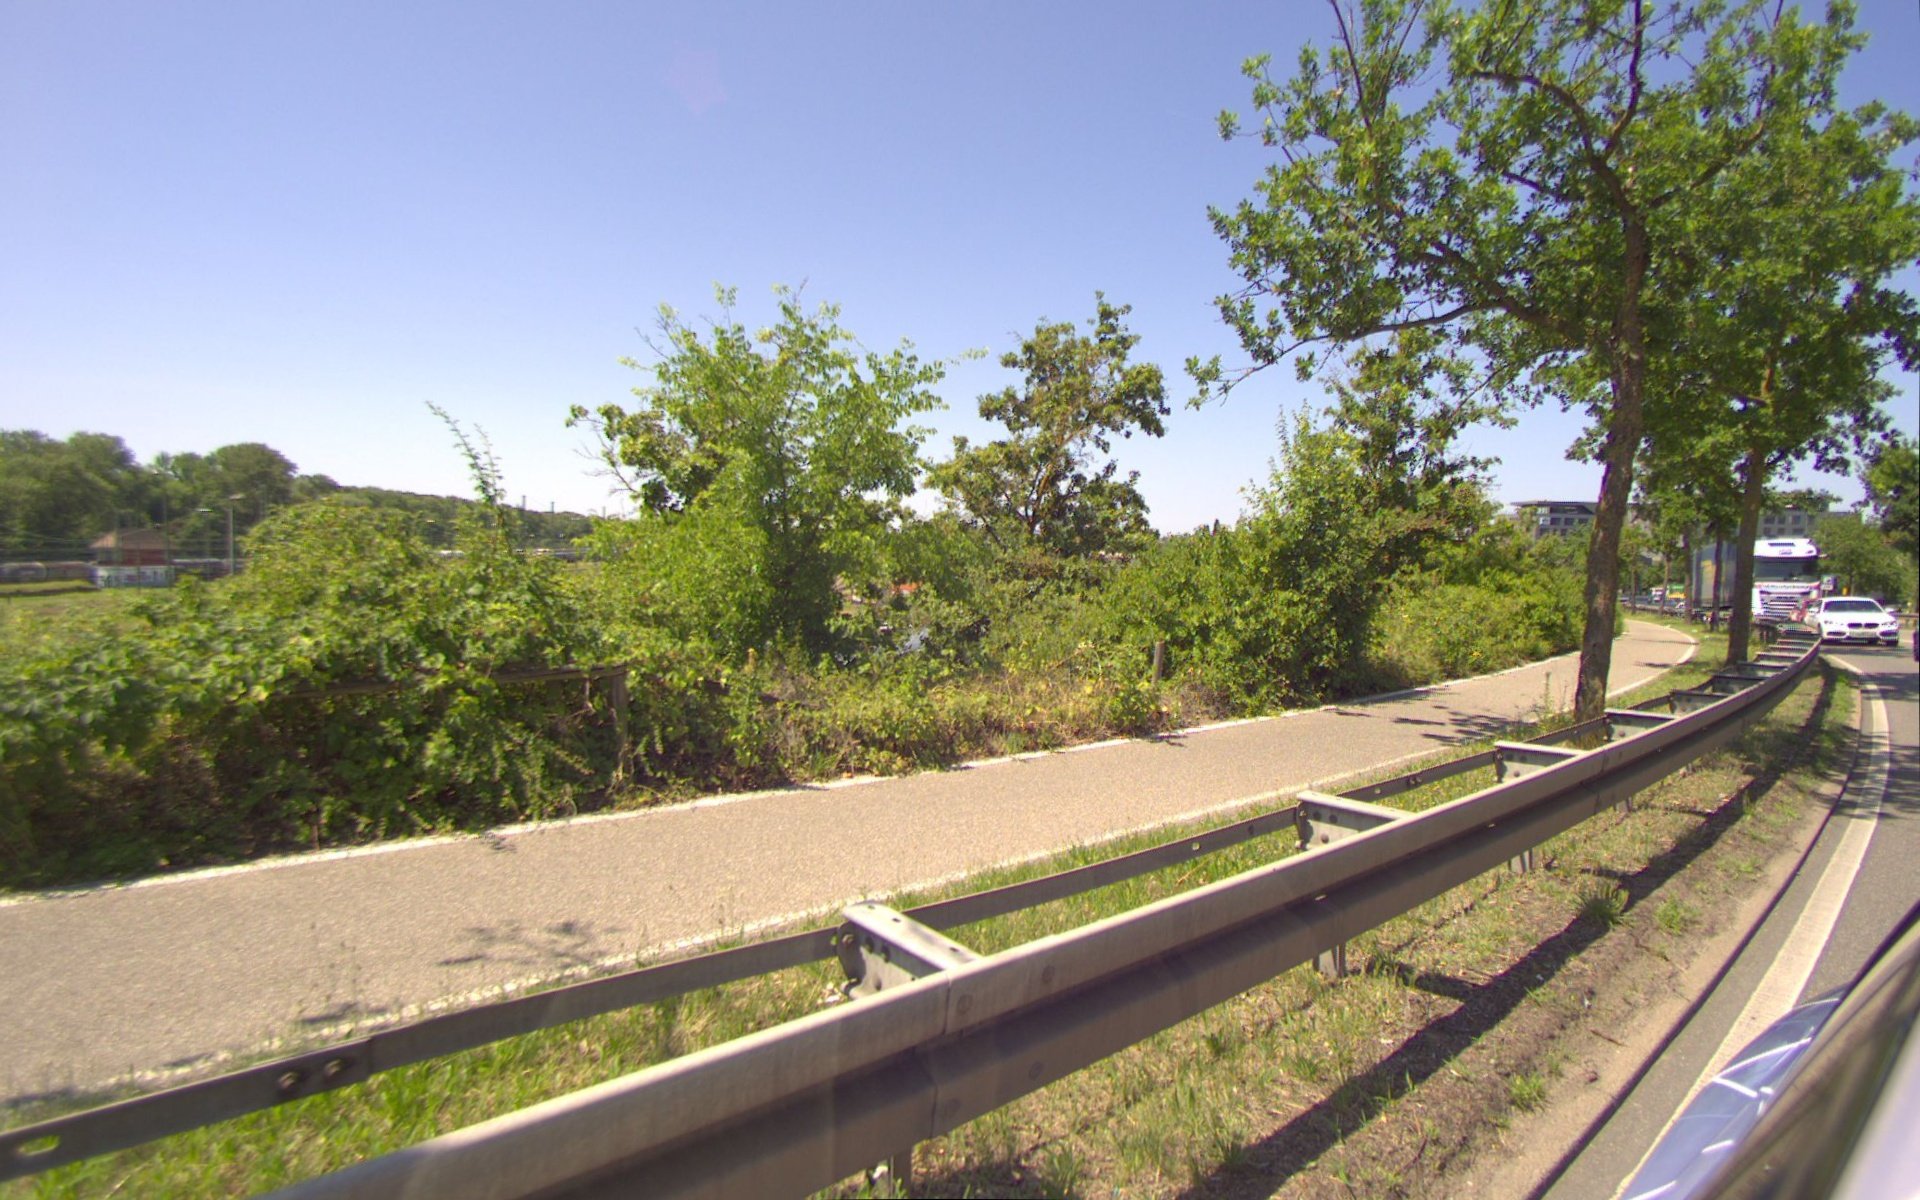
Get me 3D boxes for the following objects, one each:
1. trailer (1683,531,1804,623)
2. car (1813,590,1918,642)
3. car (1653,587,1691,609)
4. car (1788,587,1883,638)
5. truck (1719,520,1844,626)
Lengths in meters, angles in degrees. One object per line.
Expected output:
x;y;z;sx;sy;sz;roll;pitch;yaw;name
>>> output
41.179;-1.136;53.717;2.857;4.267;13.868;0;1;28;trailer
26.831;0.418;30.097;1.805;1.446;3.671;0;1;34;car
52.748;-0.164;75.031;1.961;1.596;3.956;0;1;31;car
32.821;0.411;38.057;1.885;1.675;4.215;0;2;30;car
36.763;-1.137;45.622;2.834;4.323;8.726;0;0;29;truck
